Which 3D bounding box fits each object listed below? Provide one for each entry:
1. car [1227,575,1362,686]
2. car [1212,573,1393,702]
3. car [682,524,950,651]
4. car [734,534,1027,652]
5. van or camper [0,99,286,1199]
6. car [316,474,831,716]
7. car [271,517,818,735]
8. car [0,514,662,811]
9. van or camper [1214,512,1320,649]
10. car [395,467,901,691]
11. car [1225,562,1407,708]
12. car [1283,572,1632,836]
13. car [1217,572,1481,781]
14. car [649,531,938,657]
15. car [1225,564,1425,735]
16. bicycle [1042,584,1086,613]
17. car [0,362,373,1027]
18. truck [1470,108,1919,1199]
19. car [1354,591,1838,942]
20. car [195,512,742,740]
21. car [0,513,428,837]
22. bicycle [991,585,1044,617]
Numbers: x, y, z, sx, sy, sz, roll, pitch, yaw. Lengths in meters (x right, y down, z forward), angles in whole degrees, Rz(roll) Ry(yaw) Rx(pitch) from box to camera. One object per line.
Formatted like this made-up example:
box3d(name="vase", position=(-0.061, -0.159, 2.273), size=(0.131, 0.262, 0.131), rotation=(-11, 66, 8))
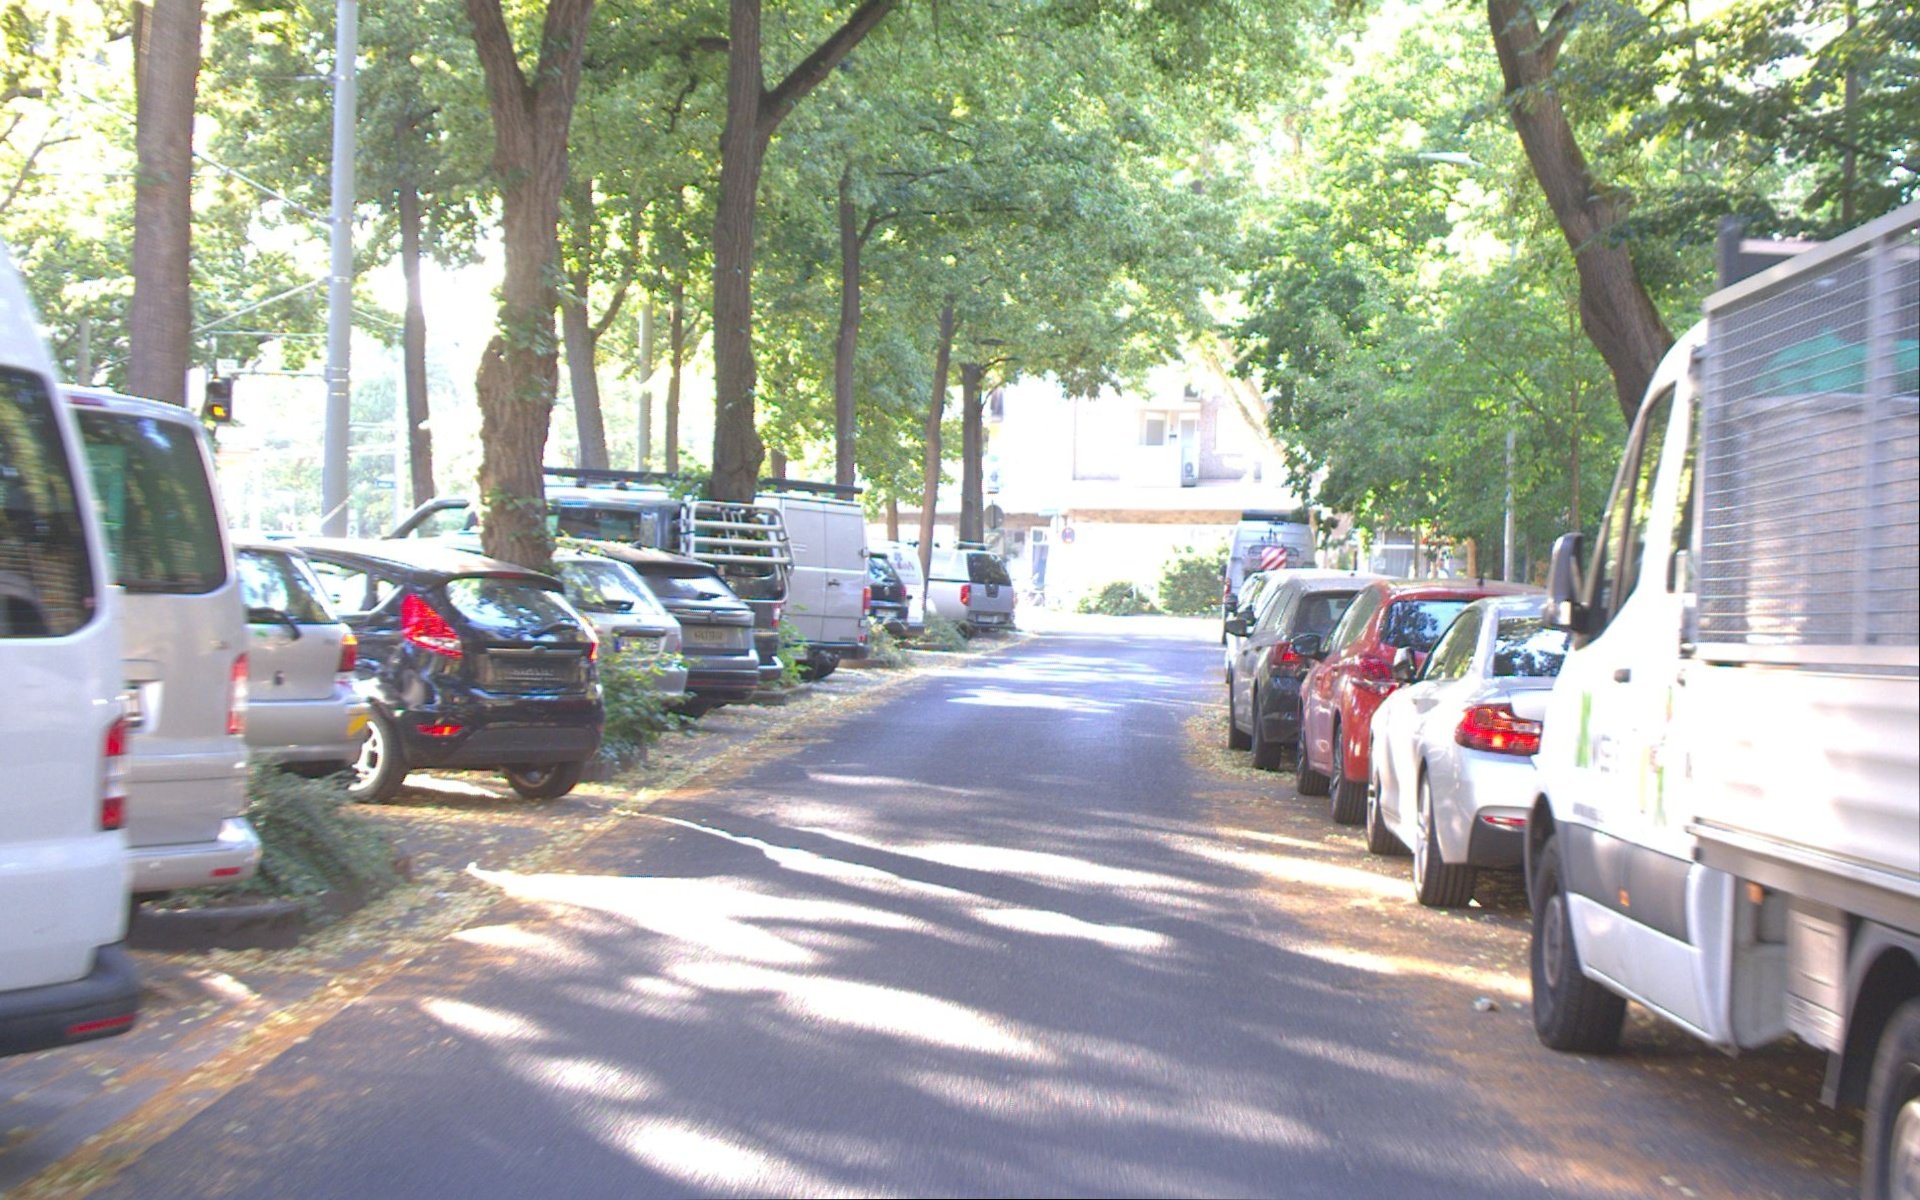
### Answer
box3d(name="car", position=(4.629, 0.388, 48.063), size=(1.680, 1.419, 4.658), rotation=(2, 0, 4))
box3d(name="car", position=(4.136, 0.420, 42.068), size=(1.680, 1.449, 4.076), rotation=(2, 0, -1))
box3d(name="car", position=(-2.424, -0.220, 57.285), size=(4.157, 1.775, 1.879), rotation=(5, 1, 40))
box3d(name="car", position=(-1.477, -0.136, 63.233), size=(4.995, 1.775, 1.984), rotation=(5, 1, 31))
box3d(name="van or camper", position=(-4.330, -0.023, 8.635), size=(4.879, 2.462, 2.041), rotation=(4, 0, 30))
box3d(name="car", position=(-3.739, -0.072, 32.846), size=(4.708, 1.936, 1.930), rotation=(5, 1, 36))
box3d(name="car", position=(-3.678, 0.211, 30.080), size=(4.567, 1.535, 1.930), rotation=(5, 1, 36))
box3d(name="car", position=(-3.871, 0.349, 20.664), size=(3.821, 1.434, 1.821), rotation=(5, 1, 37))
box3d(name="van or camper", position=(6.511, -0.427, 73.414), size=(2.084, 2.753, 5.844), rotation=(2, 0, 4))
box3d(name="car", position=(-3.606, -0.262, 39.196), size=(5.507, 2.130, 2.077), rotation=(5, 1, 33))
box3d(name="car", position=(3.788, 0.341, 37.100), size=(1.680, 1.449, 4.076), rotation=(2, 0, 3))
box3d(name="car", position=(3.004, 0.574, 21.457), size=(1.672, 1.449, 3.949), rotation=(2, 0, 2))
box3d(name="car", position=(2.936, 0.534, 26.631), size=(1.672, 1.449, 3.949), rotation=(2, 0, 2))
box3d(name="car", position=(-2.637, -0.098, 54.070), size=(4.156, 1.638, 1.911), rotation=(5, 1, 35))
box3d(name="car", position=(3.334, 0.422, 31.883), size=(1.591, 1.449, 3.554), rotation=(2, 0, 3))
box3d(name="bicycle", position=(3.351, -0.043, 110.837), size=(0.542, 0.901, 1.736), rotation=(1, 0, -31))
box3d(name="car", position=(-4.635, 0.149, 11.911), size=(4.880, 1.971, 2.041), rotation=(4, 0, 32))
box3d(name="truck", position=(2.897, 0.304, 8.376), size=(2.295, 2.378, 6.934), rotation=(2, 0, 1))
box3d(name="car", position=(2.900, 0.690, 16.511), size=(1.672, 1.393, 4.298), rotation=(2, 0, 3))
box3d(name="car", position=(-3.943, 0.193, 27.354), size=(4.089, 1.483, 1.780), rotation=(5, 1, 34))
box3d(name="car", position=(-4.849, 0.313, 18.375), size=(3.546, 1.488, 1.822), rotation=(5, 1, 32))
box3d(name="bicycle", position=(1.869, 0.022, 112.575), size=(0.638, 1.019, 2.088), rotation=(1, 0, -34))
